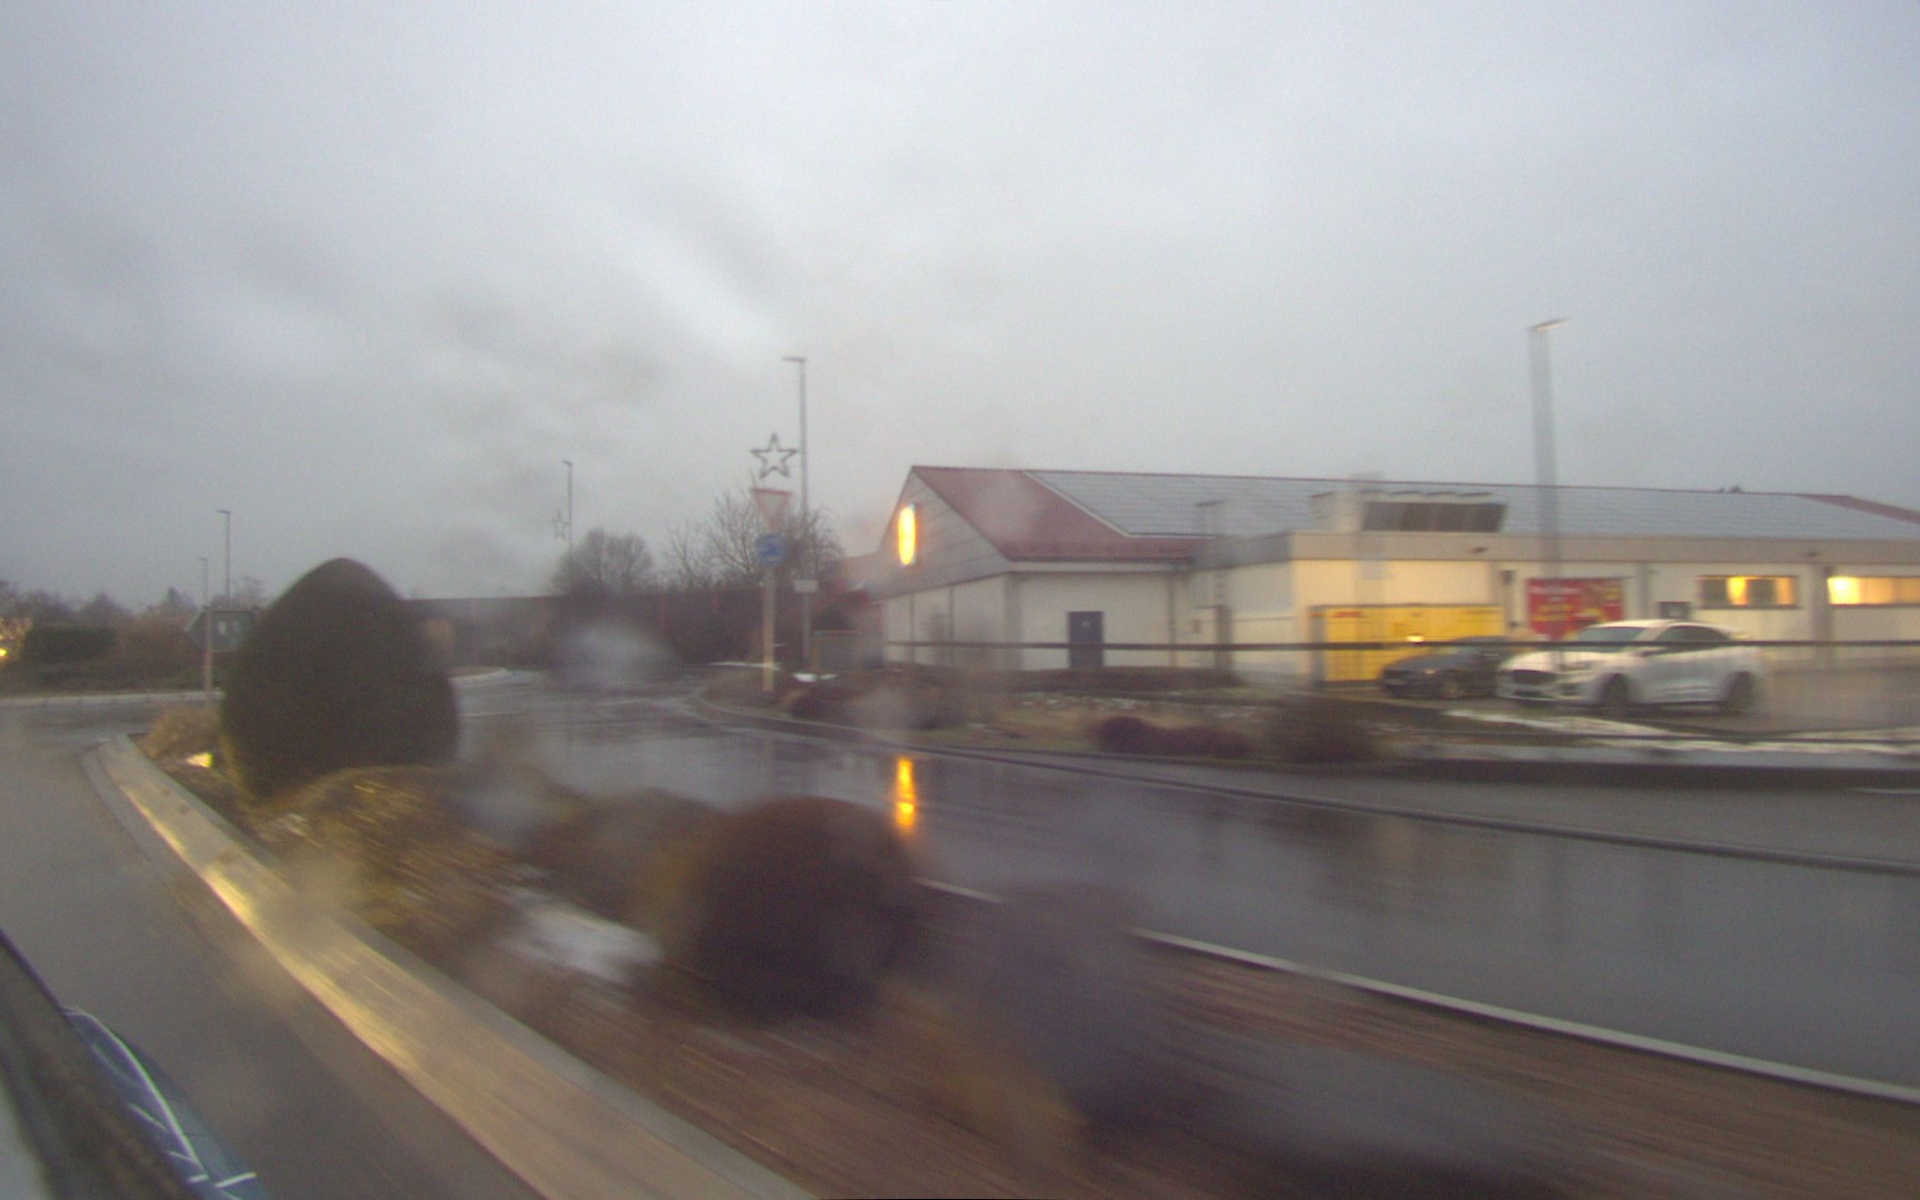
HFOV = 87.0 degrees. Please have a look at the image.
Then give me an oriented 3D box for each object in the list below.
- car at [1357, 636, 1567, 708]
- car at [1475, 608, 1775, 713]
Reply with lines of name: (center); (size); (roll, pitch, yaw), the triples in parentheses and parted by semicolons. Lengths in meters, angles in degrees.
car: (11.274, 1.574, 22.815); (3.933, 1.321, 1.847); (-2, 0, -14)
car: (11.628, 0.986, 17.792); (4.209, 1.573, 2.071); (-2, 0, -15)
